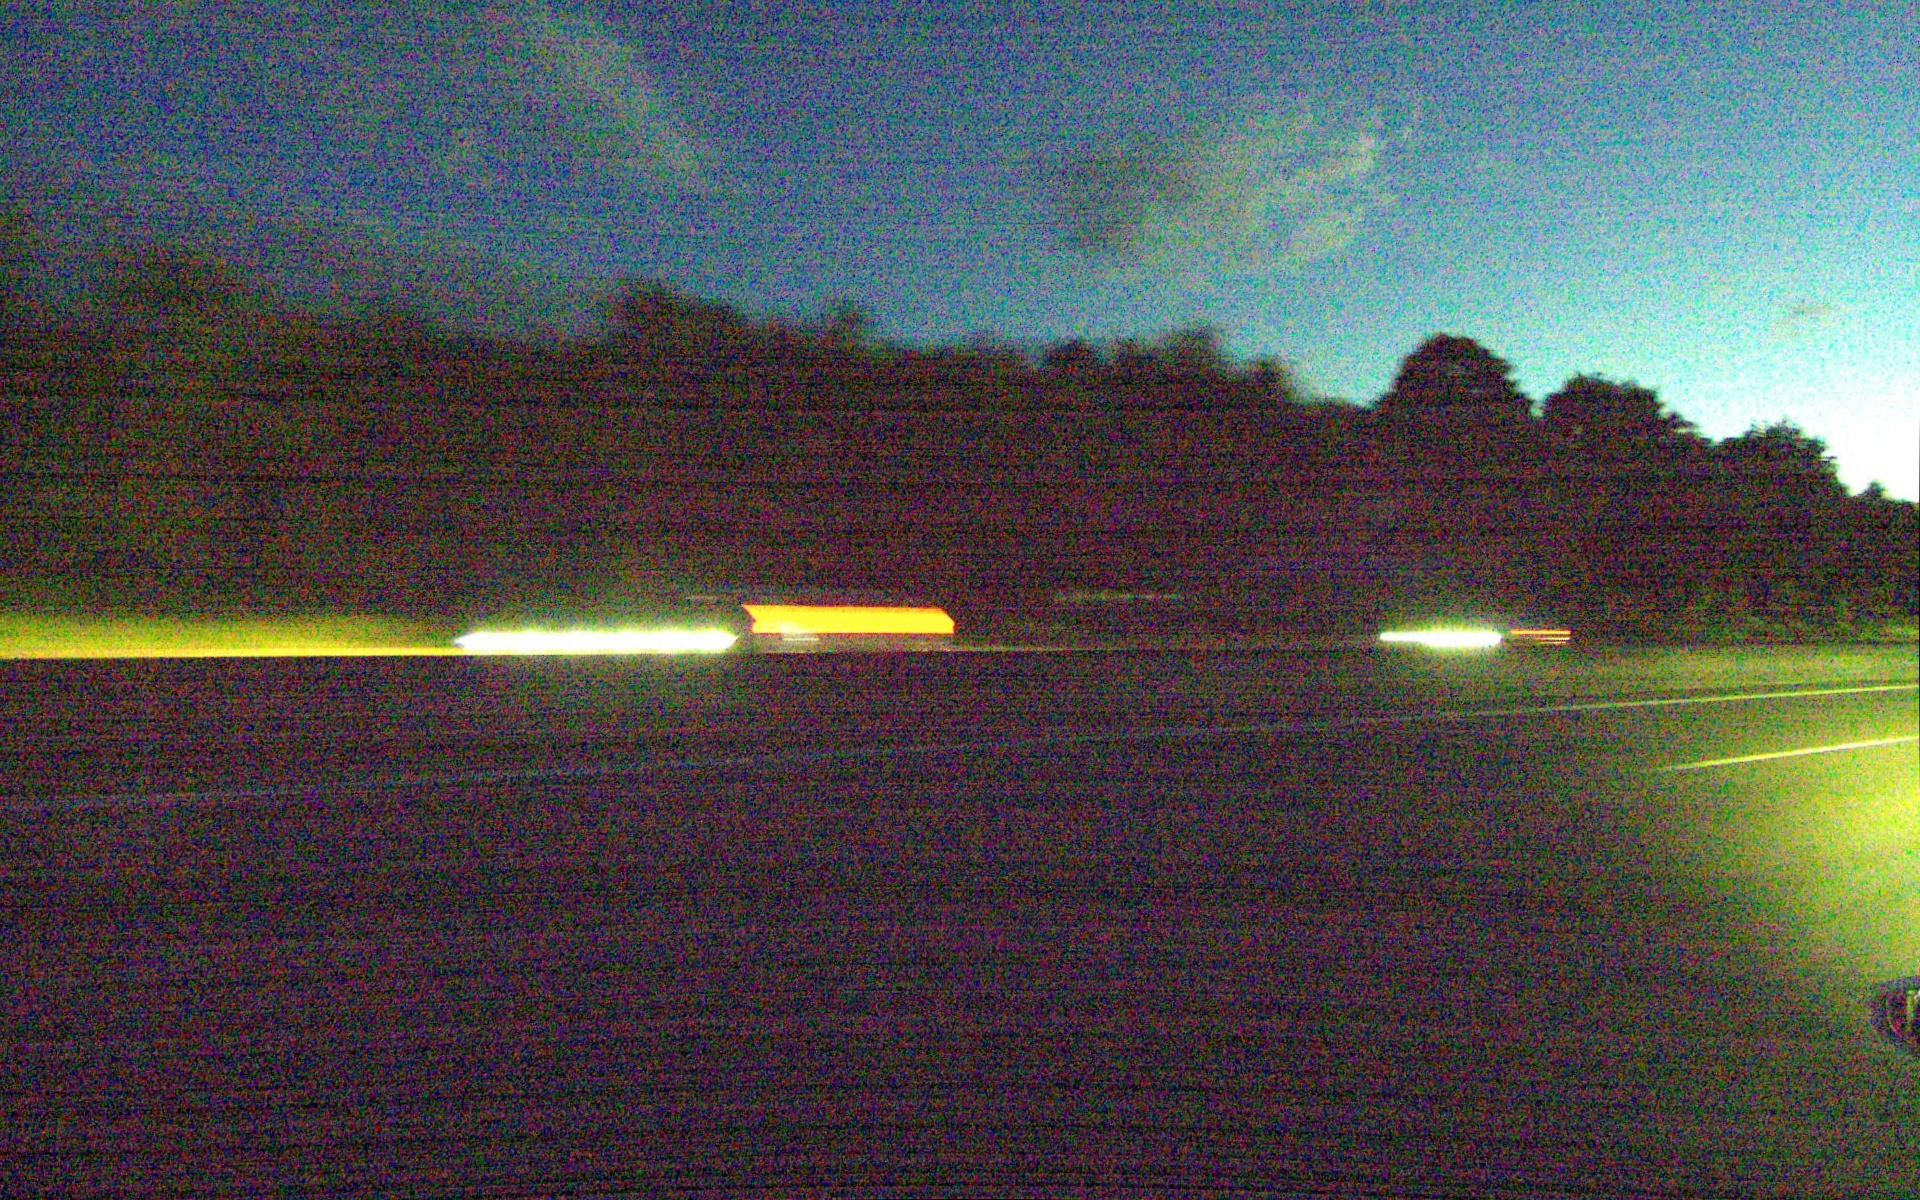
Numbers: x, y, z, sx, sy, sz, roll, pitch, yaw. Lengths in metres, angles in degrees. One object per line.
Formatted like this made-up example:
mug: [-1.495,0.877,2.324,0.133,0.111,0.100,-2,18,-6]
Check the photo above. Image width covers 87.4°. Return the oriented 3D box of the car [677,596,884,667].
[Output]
car: [-4.171,0.733,23.458,4.348,1.528,1.985,2,-1,-29]

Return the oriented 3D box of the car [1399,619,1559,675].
car: [15.464,1.376,29.872,4.874,1.500,1.983,2,-1,-31]

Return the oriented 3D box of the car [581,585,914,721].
car: [-3.214,0.765,15.376,4.622,1.814,1.985,2,-1,-29]
